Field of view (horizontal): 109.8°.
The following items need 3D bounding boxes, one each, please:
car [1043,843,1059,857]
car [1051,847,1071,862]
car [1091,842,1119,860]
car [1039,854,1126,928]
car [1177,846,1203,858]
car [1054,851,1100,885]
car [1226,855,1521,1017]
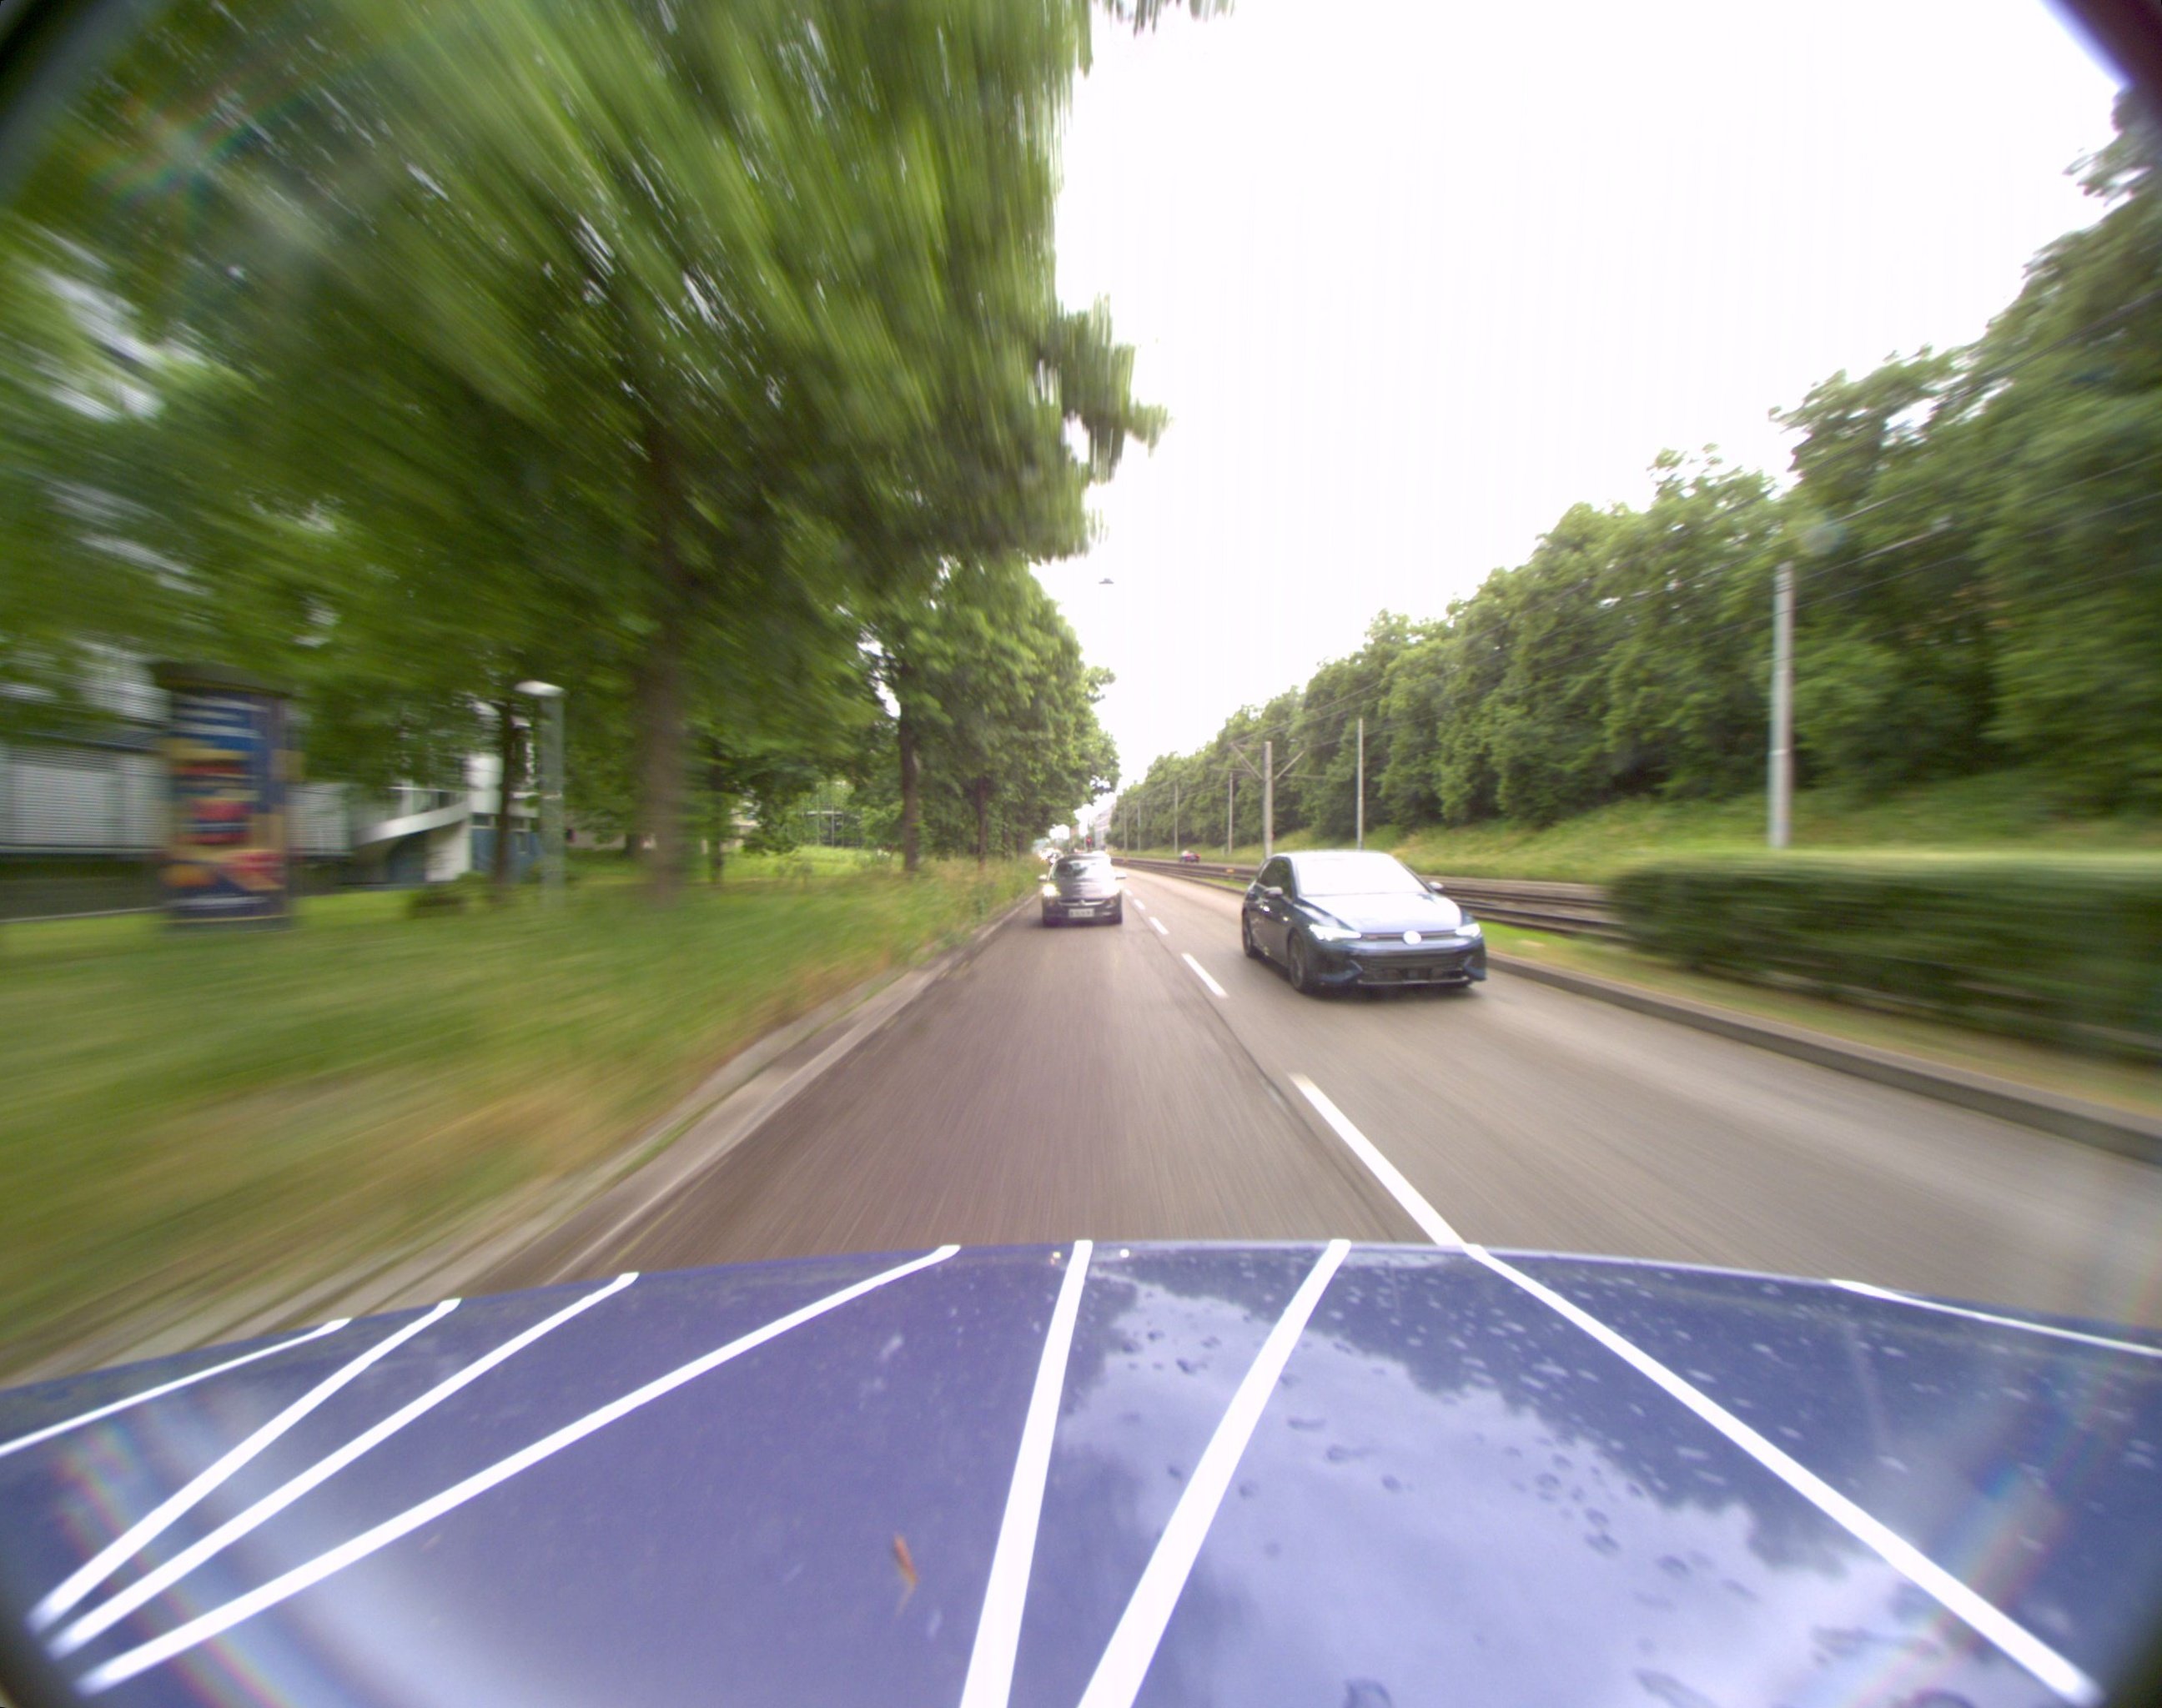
[{"bbox_3d":[-4.564,-0.565,115.514,1.961,1.914,4.842,-3,0,-6],"label":"car"},{"bbox_3d":[-2.140,0.092,82.061,1.961,1.469,4.698,-3,0,-3],"label":"car"},{"bbox_3d":[2.112,-0.240,67.818,1.961,1.472,4.697,-3,0,-4],"label":"car"},{"bbox_3d":[0.022,0.746,17.452,1.711,1.425,4.429,-1,0,0],"label":"car"},{"bbox_3d":[13.365,-0.249,93.056,2.000,1.423,4.427,-1,1,-8],"label":"car"},{"bbox_3d":[-0.118,0.615,36.346,1.960,1.457,4.700,-1,0,2],"label":"car"},{"bbox_3d":[3.040,0.744,8.984,1.812,1.370,4.346,-2,0,0],"label":"car"}]
